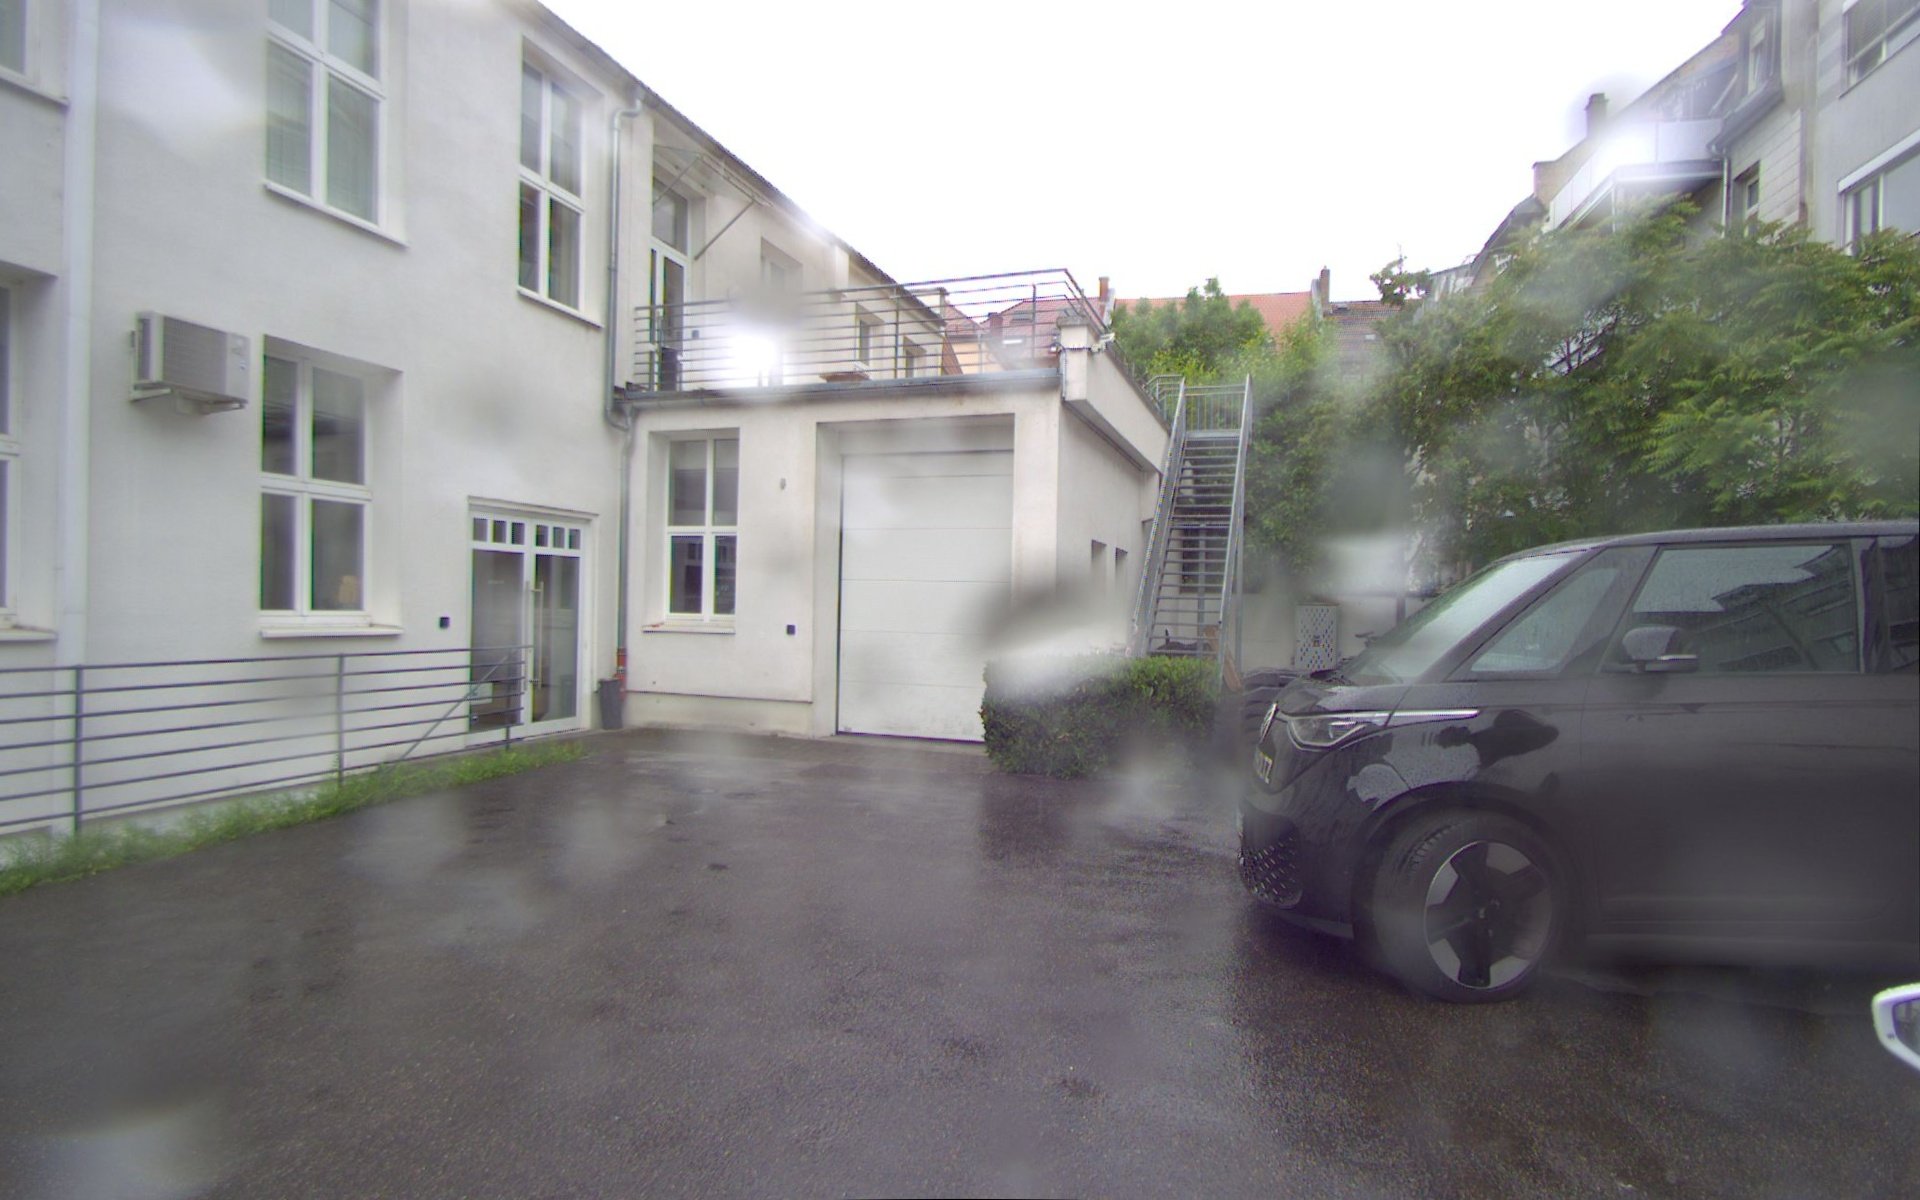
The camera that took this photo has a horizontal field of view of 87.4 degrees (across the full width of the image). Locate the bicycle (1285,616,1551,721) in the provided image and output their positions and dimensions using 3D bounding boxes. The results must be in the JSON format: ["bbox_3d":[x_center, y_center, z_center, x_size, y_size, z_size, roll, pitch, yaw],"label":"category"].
[{"bbox_3d":[6.016,0.883,13.420,3.159,1.258,0.631,1,-1,16],"label":"bicycle"}]

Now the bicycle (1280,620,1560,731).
[{"bbox_3d":[5.732,0.919,12.751,3.159,1.258,0.631,1,-1,16],"label":"bicycle"}]

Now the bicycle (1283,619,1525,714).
[{"bbox_3d":[6.403,0.944,14.680,3.159,1.258,0.631,1,-1,16],"label":"bicycle"}]

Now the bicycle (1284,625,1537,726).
[{"bbox_3d":[6.213,1.020,14.061,3.159,1.258,0.631,1,-1,16],"label":"bicycle"}]

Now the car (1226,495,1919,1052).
[{"bbox_3d":[3.558,0.621,4.469,4.430,1.922,2.048,1,-1,11],"label":"car"}]
